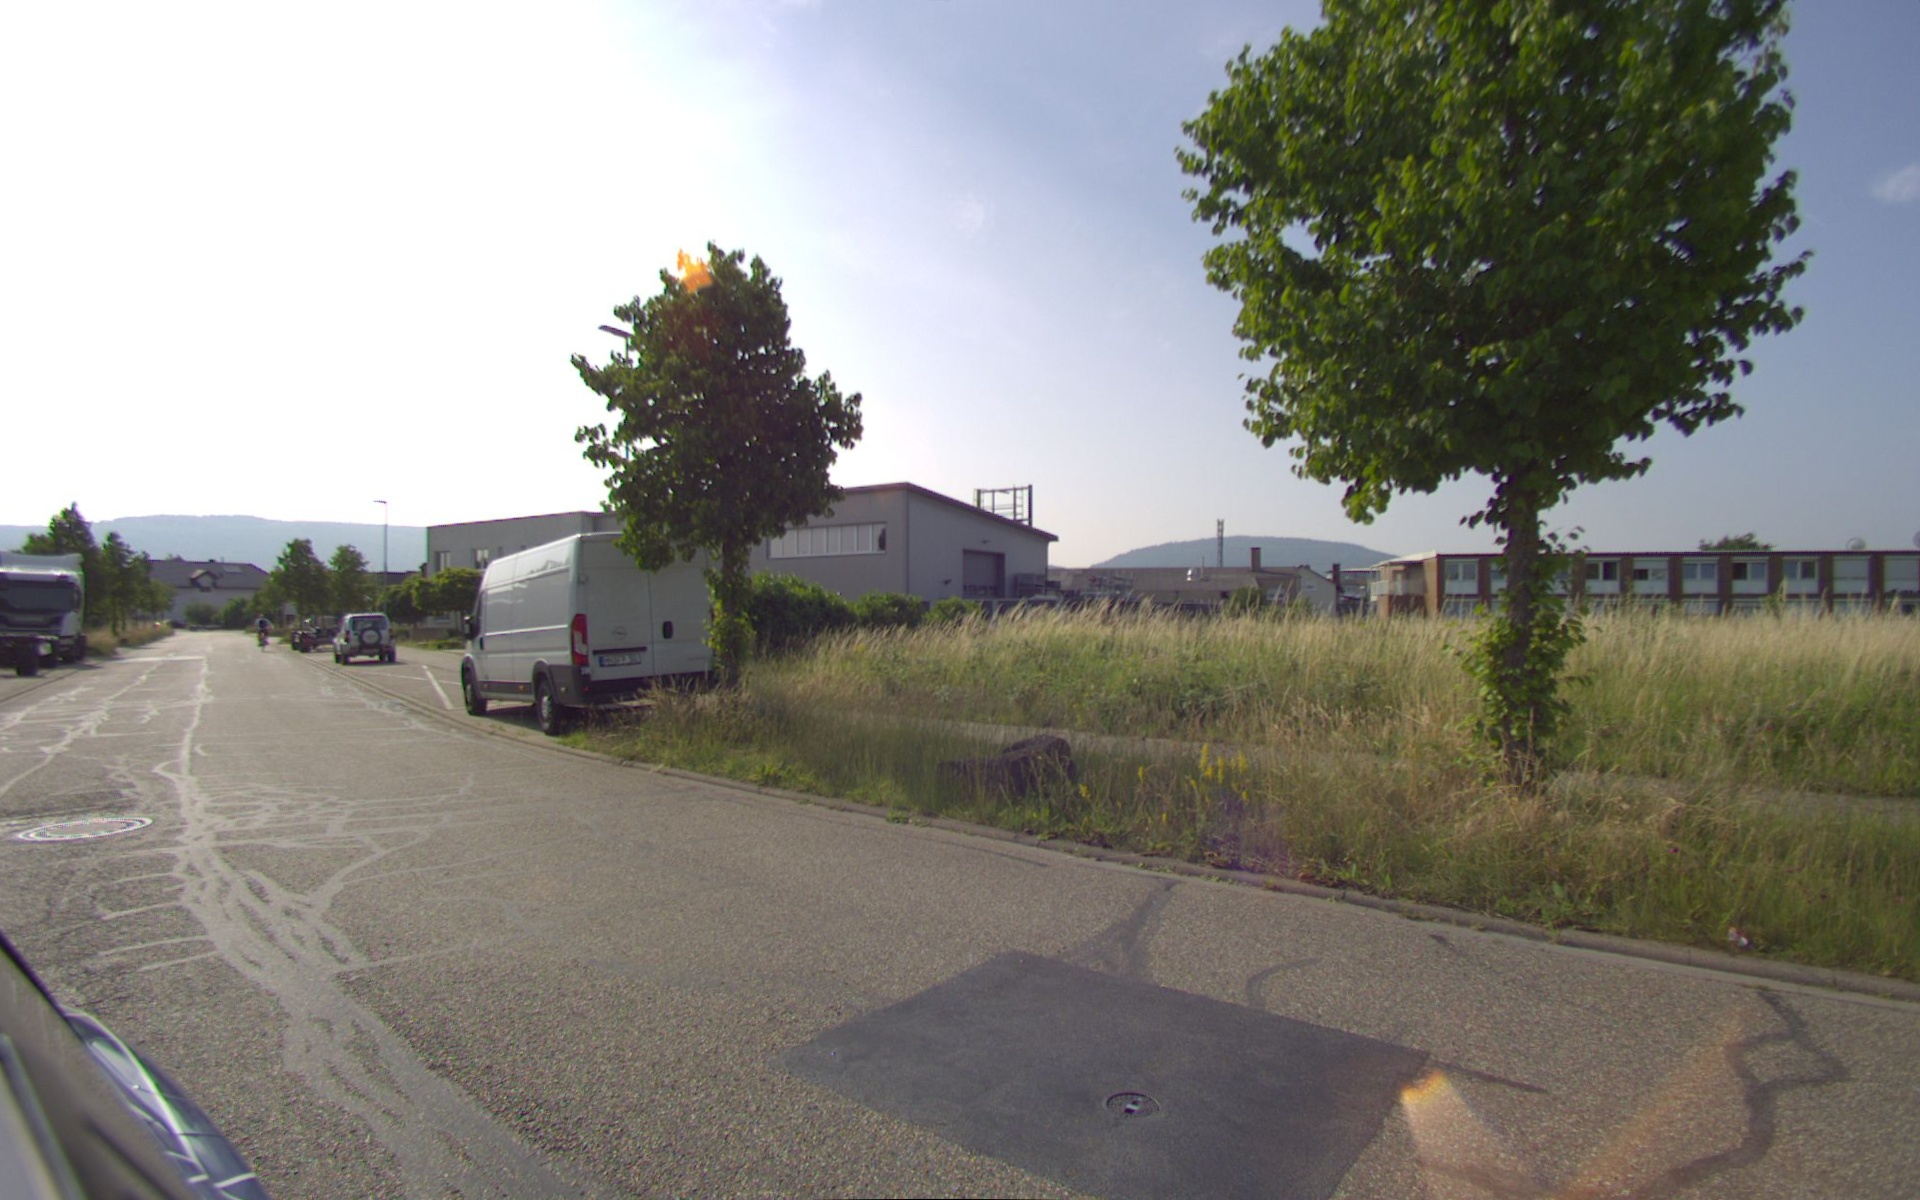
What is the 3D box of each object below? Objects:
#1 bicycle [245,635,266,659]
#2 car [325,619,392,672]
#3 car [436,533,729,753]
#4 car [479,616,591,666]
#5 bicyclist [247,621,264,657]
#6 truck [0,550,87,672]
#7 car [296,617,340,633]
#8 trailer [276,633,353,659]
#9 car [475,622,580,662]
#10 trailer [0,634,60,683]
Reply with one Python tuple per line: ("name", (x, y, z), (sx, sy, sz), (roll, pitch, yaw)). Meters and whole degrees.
("bicycle", (-34.126, 2.256, 48.990), (0.706, 1.131, 2.224), (4, -4, -36))
("car", (-20.687, 1.533, 34.758), (1.576, 1.663, 3.652), (-1, -1, -37))
("car", (-5.938, 0.569, 15.211), (2.076, 2.615, 6.515), (-1, -1, -40))
("car", (-14.566, 1.383, 34.633), (3.809, 1.583, 1.817), (-1, 0, 37))
("bicyclist", (-34.208, 1.891, 49.134), (0.631, 1.732, 1.168), (1, -2, -37))
("truck", (-32.961, 0.435, 35.820), (2.657, 3.995, 6.059), (4, -4, -38))
("car", (-71.143, 2.746, 112.180), (3.934, 1.741, 2.005), (1, -2, -36))
("trailer", (-32.212, 2.225, 50.307), (2.513, 1.082, 9.752), (-1, -1, -37))
("car", (-17.642, 1.688, 41.252), (4.412, 1.487, 1.958), (-1, -1, 36))
("trailer", (-27.862, 1.643, 29.456), (1.913, 1.245, 7.466), (3, -3, -38))
